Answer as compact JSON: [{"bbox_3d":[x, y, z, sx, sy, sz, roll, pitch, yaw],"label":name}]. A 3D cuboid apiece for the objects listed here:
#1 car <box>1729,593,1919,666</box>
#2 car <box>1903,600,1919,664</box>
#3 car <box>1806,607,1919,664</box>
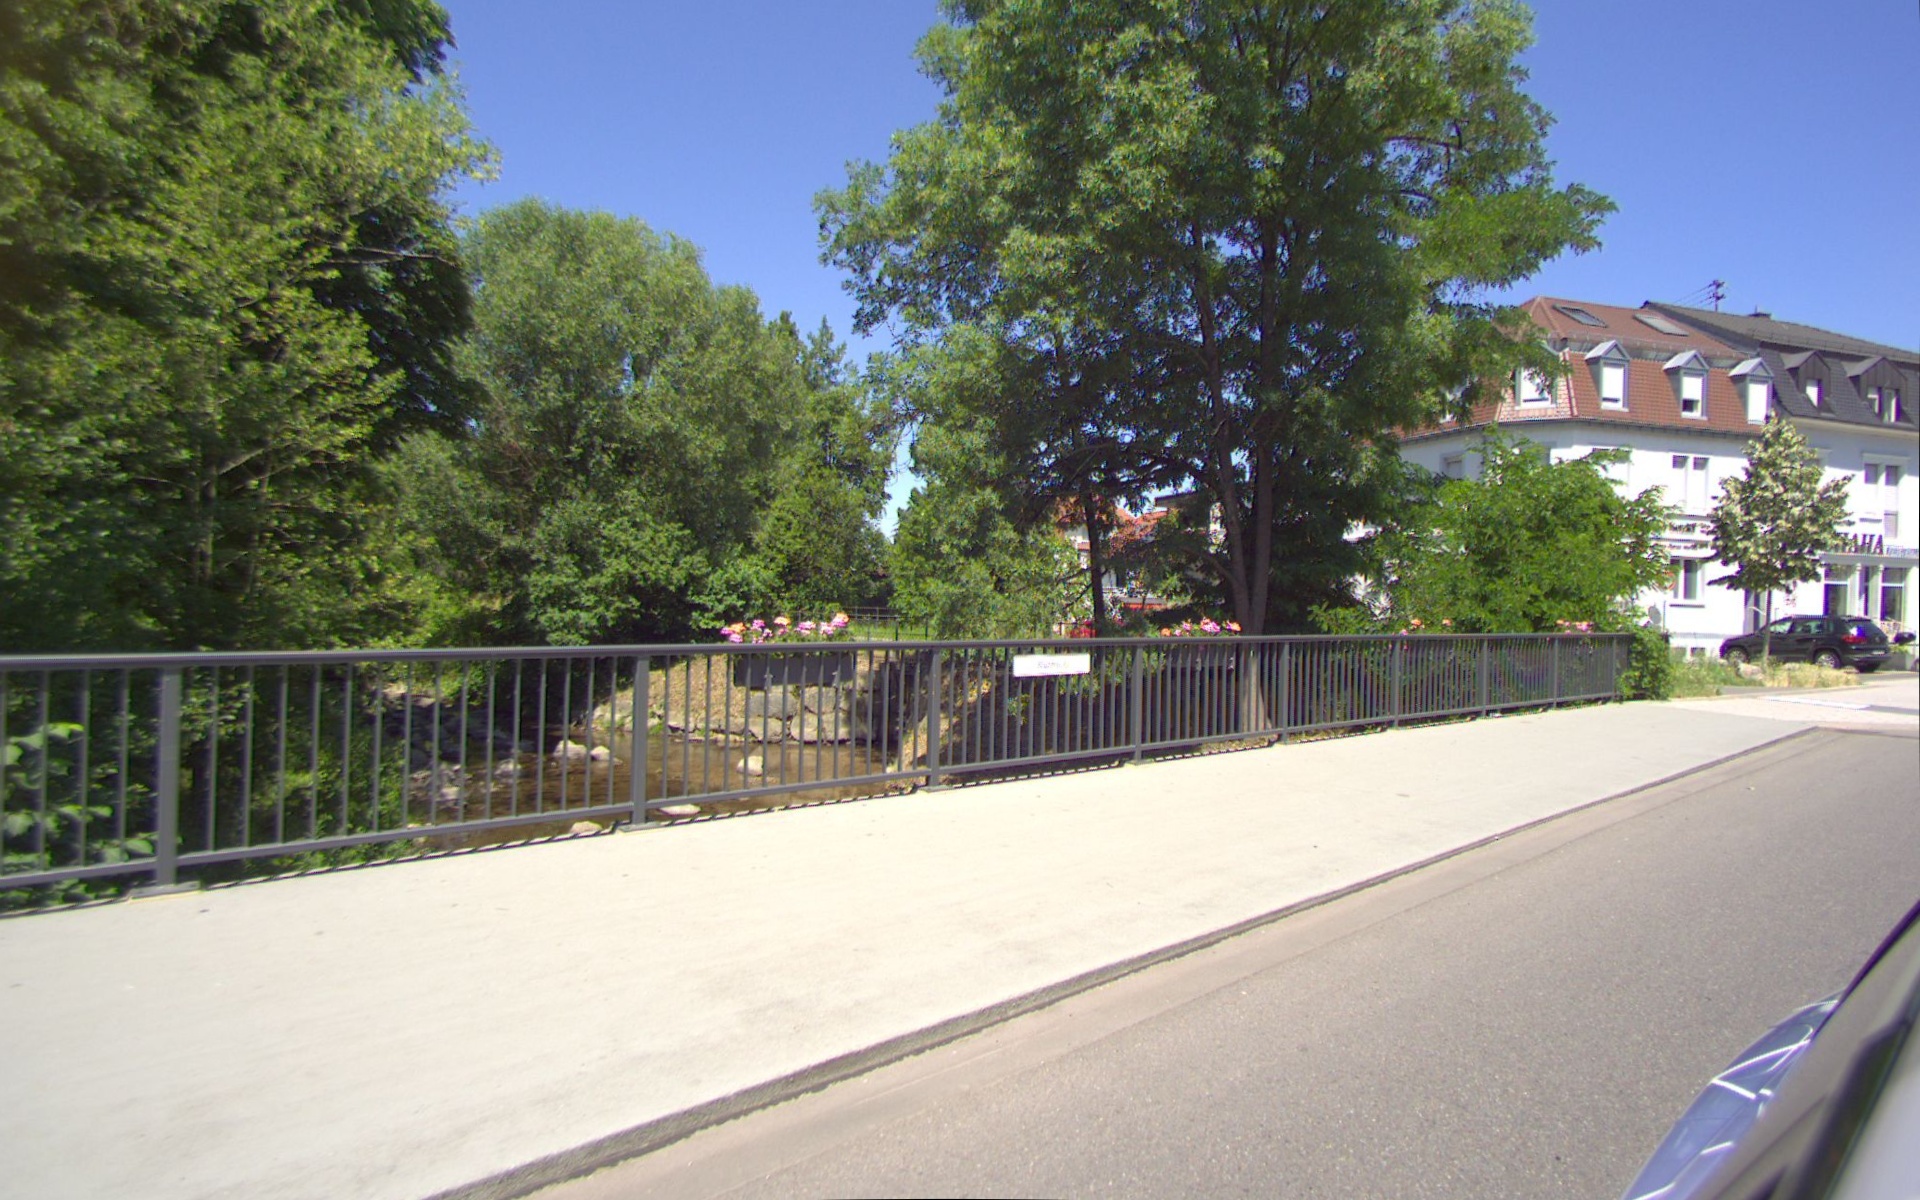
[{"bbox_3d":[25.882,0.856,30.456,1.958,2.039,4.007,0,-1,-14],"label":"car"},{"bbox_3d":[32.026,1.071,31.088,1.958,2.039,4.008,3,0,-14],"label":"car"},{"bbox_3d":[29.214,1.114,31.516,1.958,1.692,4.007,2,-1,-14],"label":"car"}]
